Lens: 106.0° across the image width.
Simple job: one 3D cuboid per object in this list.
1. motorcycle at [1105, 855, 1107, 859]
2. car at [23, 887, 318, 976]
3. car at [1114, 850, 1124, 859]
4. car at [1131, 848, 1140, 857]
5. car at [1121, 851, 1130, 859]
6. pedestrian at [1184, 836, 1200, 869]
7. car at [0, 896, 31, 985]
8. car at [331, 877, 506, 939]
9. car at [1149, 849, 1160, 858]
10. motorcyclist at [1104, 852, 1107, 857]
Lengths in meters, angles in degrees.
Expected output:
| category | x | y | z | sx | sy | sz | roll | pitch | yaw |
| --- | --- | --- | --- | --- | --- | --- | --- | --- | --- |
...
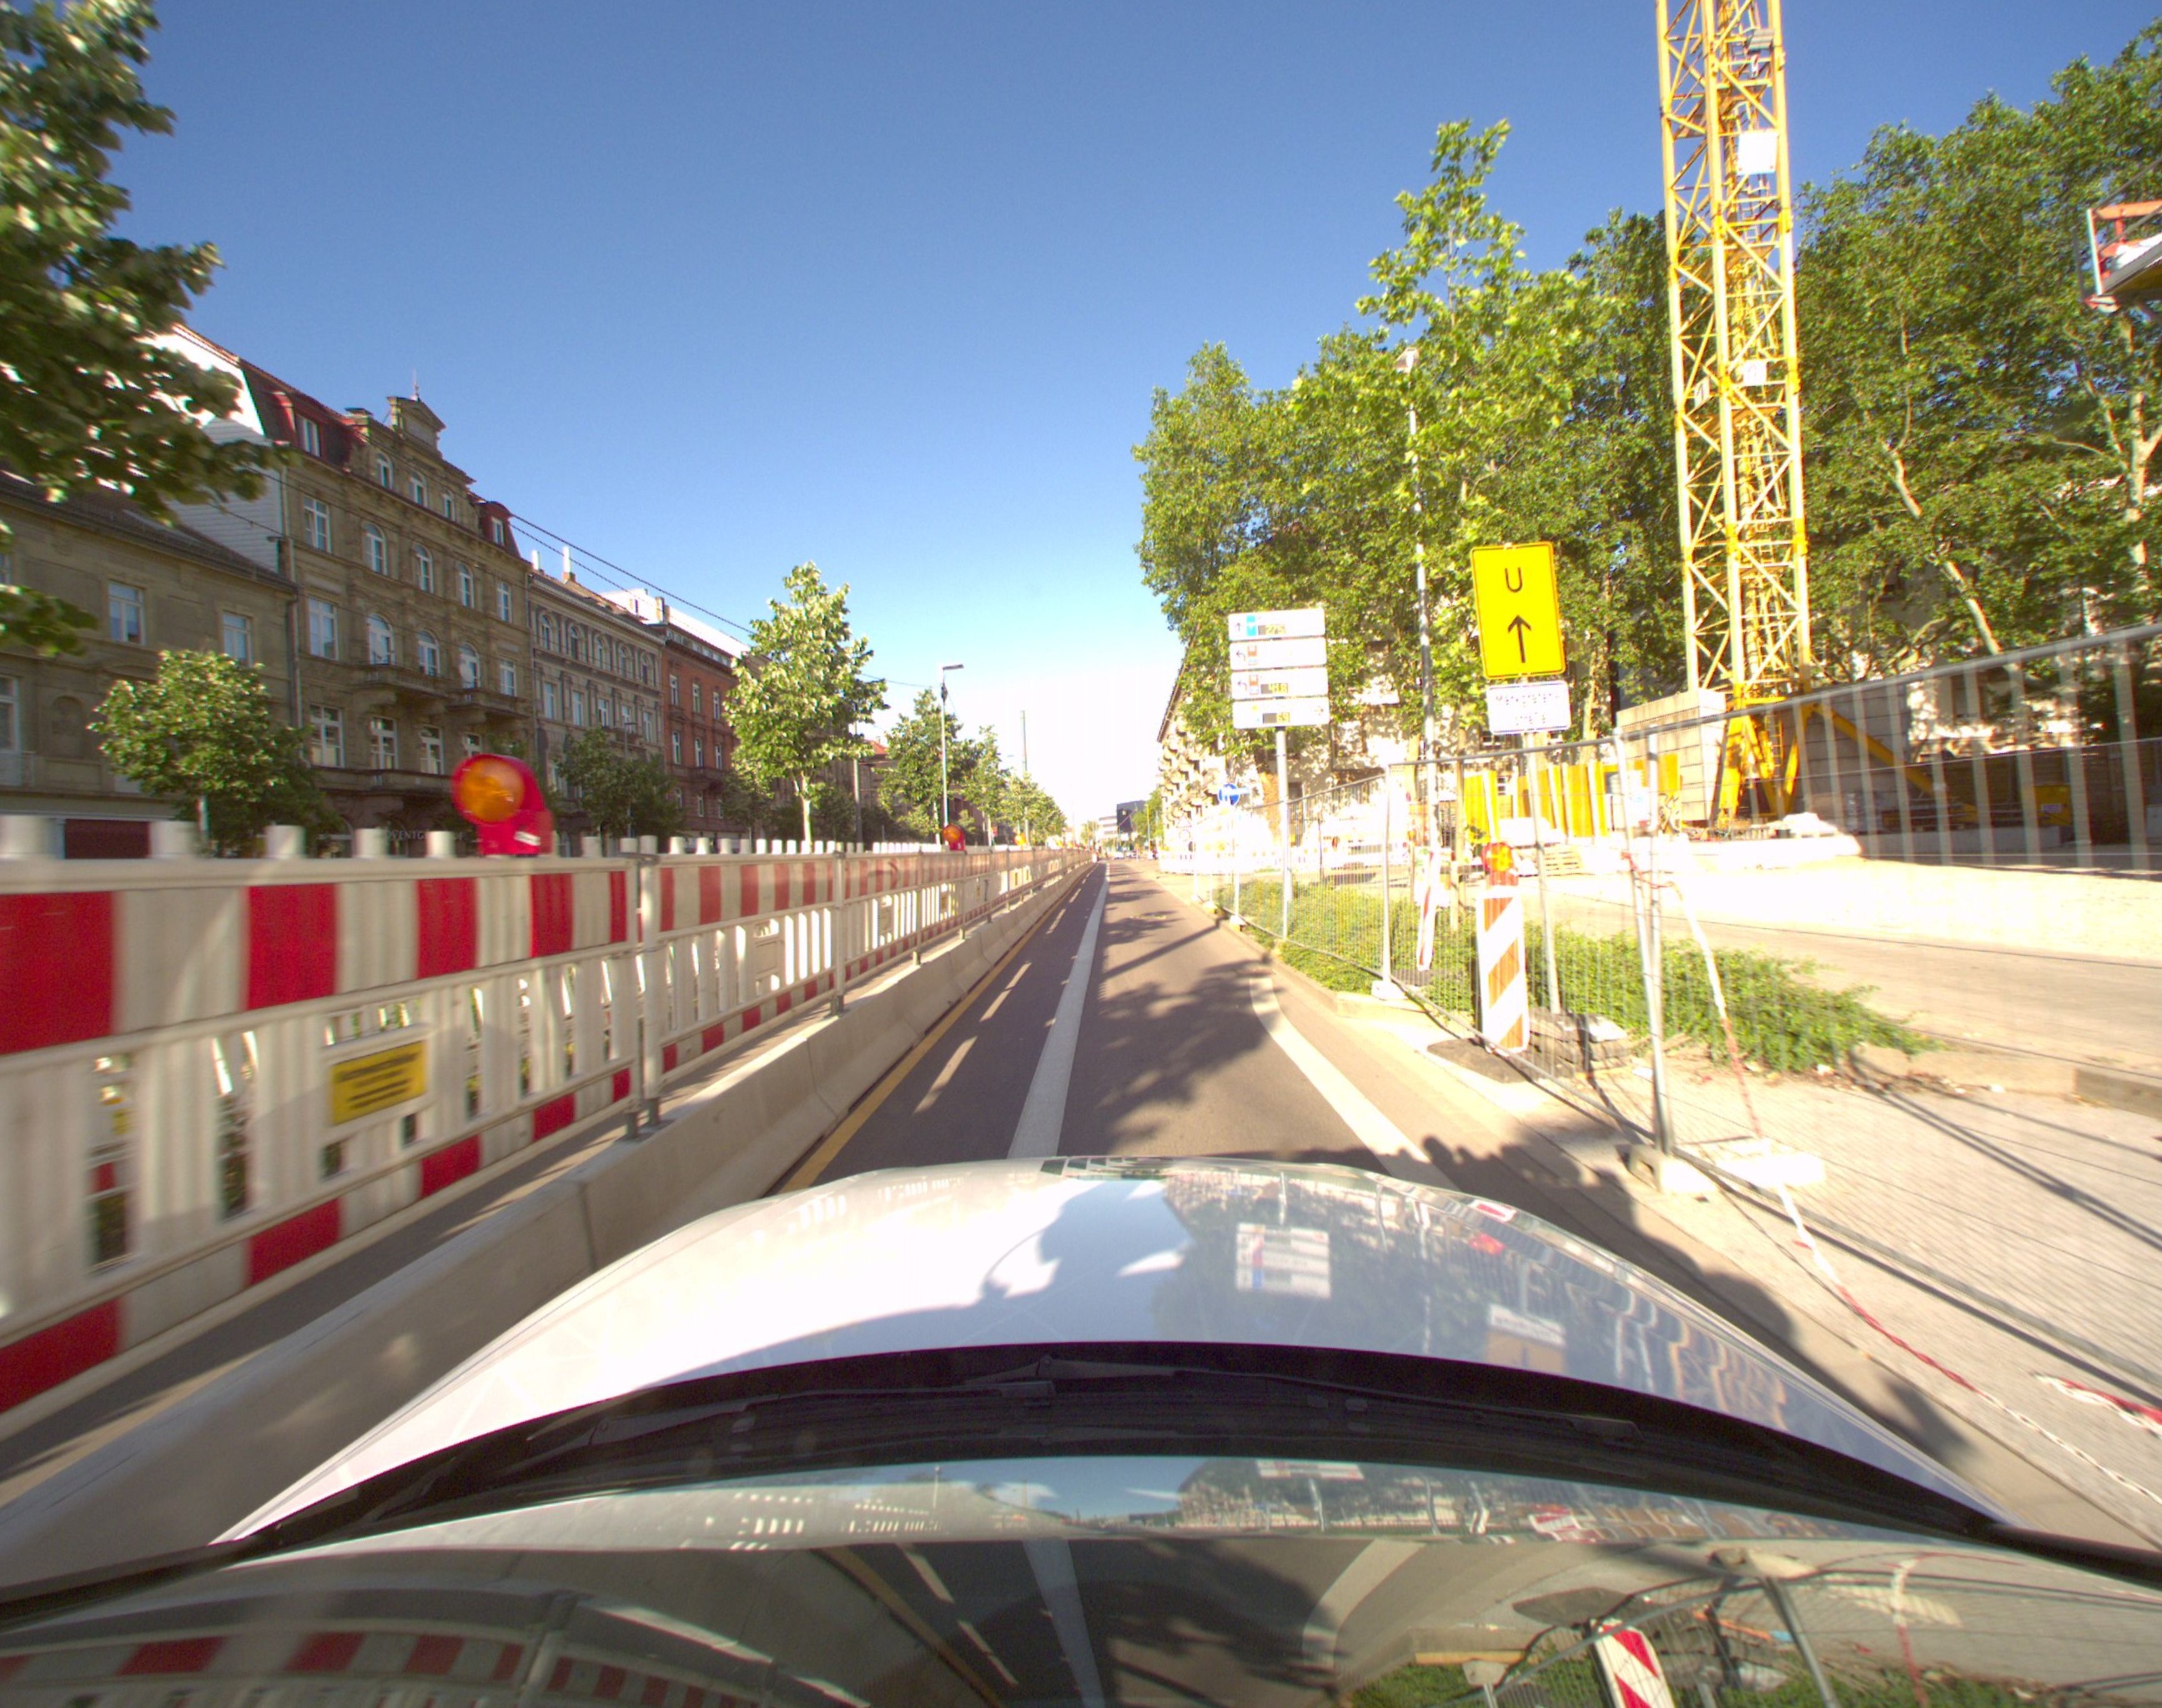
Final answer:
| category | x | y | z | sx | sy | sz | roll | pitch | yaw |
| --- | --- | --- | --- | --- | --- | --- | --- | --- | --- |
| motorcycle | 6.090 | 0.642 | 198.647 | 0.628 | 0.896 | 1.622 | -3 | 0 | 2 |
| car | -21.296 | 1.716 | 19.429 | 1.560 | 1.562 | 4.717 | -3 | 0 | 2 |
| car | 7.964 | 0.076 | 170.227 | 1.876 | 1.842 | 3.670 | -3 | 0 | 2 |
| car | 11.869 | -0.268 | 178.340 | 1.876 | 1.842 | 3.670 | -3 | 0 | 2 |
| car | 11.118 | 0.208 | 203.674 | 1.876 | 1.842 | 3.670 | -3 | 0 | 2 |
| pedestrian | 5.868 | -0.082 | 42.996 | 0.666 | 1.746 | 0.778 | -3 | 0 | 0 |
| car | -21.436 | 1.711 | 14.049 | 1.560 | 1.675 | 3.811 | -3 | 0 | 2 |
| car | -20.951 | 1.642 | 26.051 | 1.560 | 1.562 | 4.716 | -3 | 0 | 2 |
| car | 13.484 | -0.042 | 149.645 | 1.875 | 1.589 | 3.671 | -3 | 0 | 3 |
| motorcyclist | 6.065 | 0.109 | 198.722 | 0.628 | 1.263 | 0.606 | -3 | 0 | 2 |
